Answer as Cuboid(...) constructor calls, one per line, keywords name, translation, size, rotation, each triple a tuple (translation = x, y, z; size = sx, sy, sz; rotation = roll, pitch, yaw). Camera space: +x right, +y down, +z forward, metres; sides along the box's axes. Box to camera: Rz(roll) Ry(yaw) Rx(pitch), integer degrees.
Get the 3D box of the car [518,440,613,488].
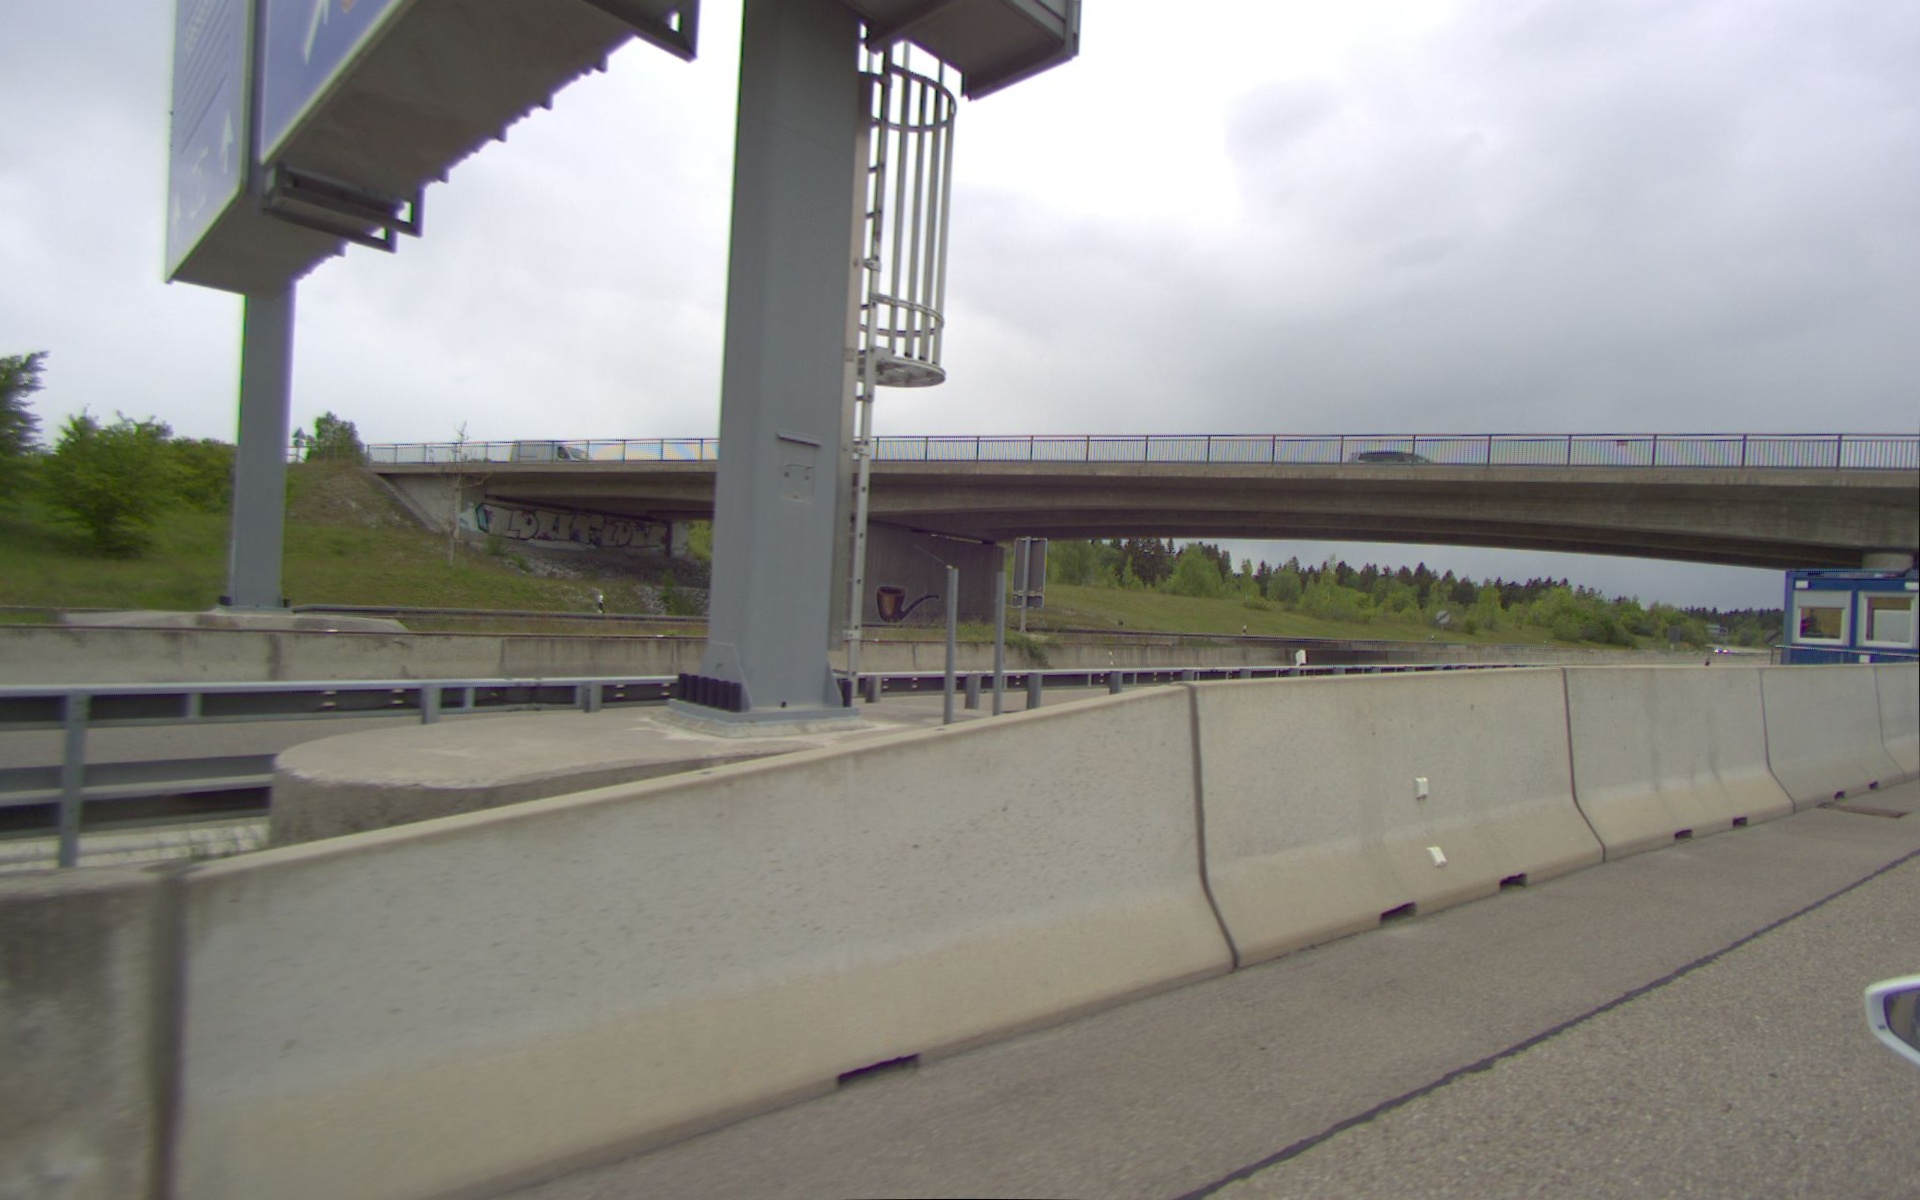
Cuboid(name="car", translation=(-23.998, -8.218, 61.057), size=(5.642, 2.281, 1.999), rotation=(-1, -2, 24))
